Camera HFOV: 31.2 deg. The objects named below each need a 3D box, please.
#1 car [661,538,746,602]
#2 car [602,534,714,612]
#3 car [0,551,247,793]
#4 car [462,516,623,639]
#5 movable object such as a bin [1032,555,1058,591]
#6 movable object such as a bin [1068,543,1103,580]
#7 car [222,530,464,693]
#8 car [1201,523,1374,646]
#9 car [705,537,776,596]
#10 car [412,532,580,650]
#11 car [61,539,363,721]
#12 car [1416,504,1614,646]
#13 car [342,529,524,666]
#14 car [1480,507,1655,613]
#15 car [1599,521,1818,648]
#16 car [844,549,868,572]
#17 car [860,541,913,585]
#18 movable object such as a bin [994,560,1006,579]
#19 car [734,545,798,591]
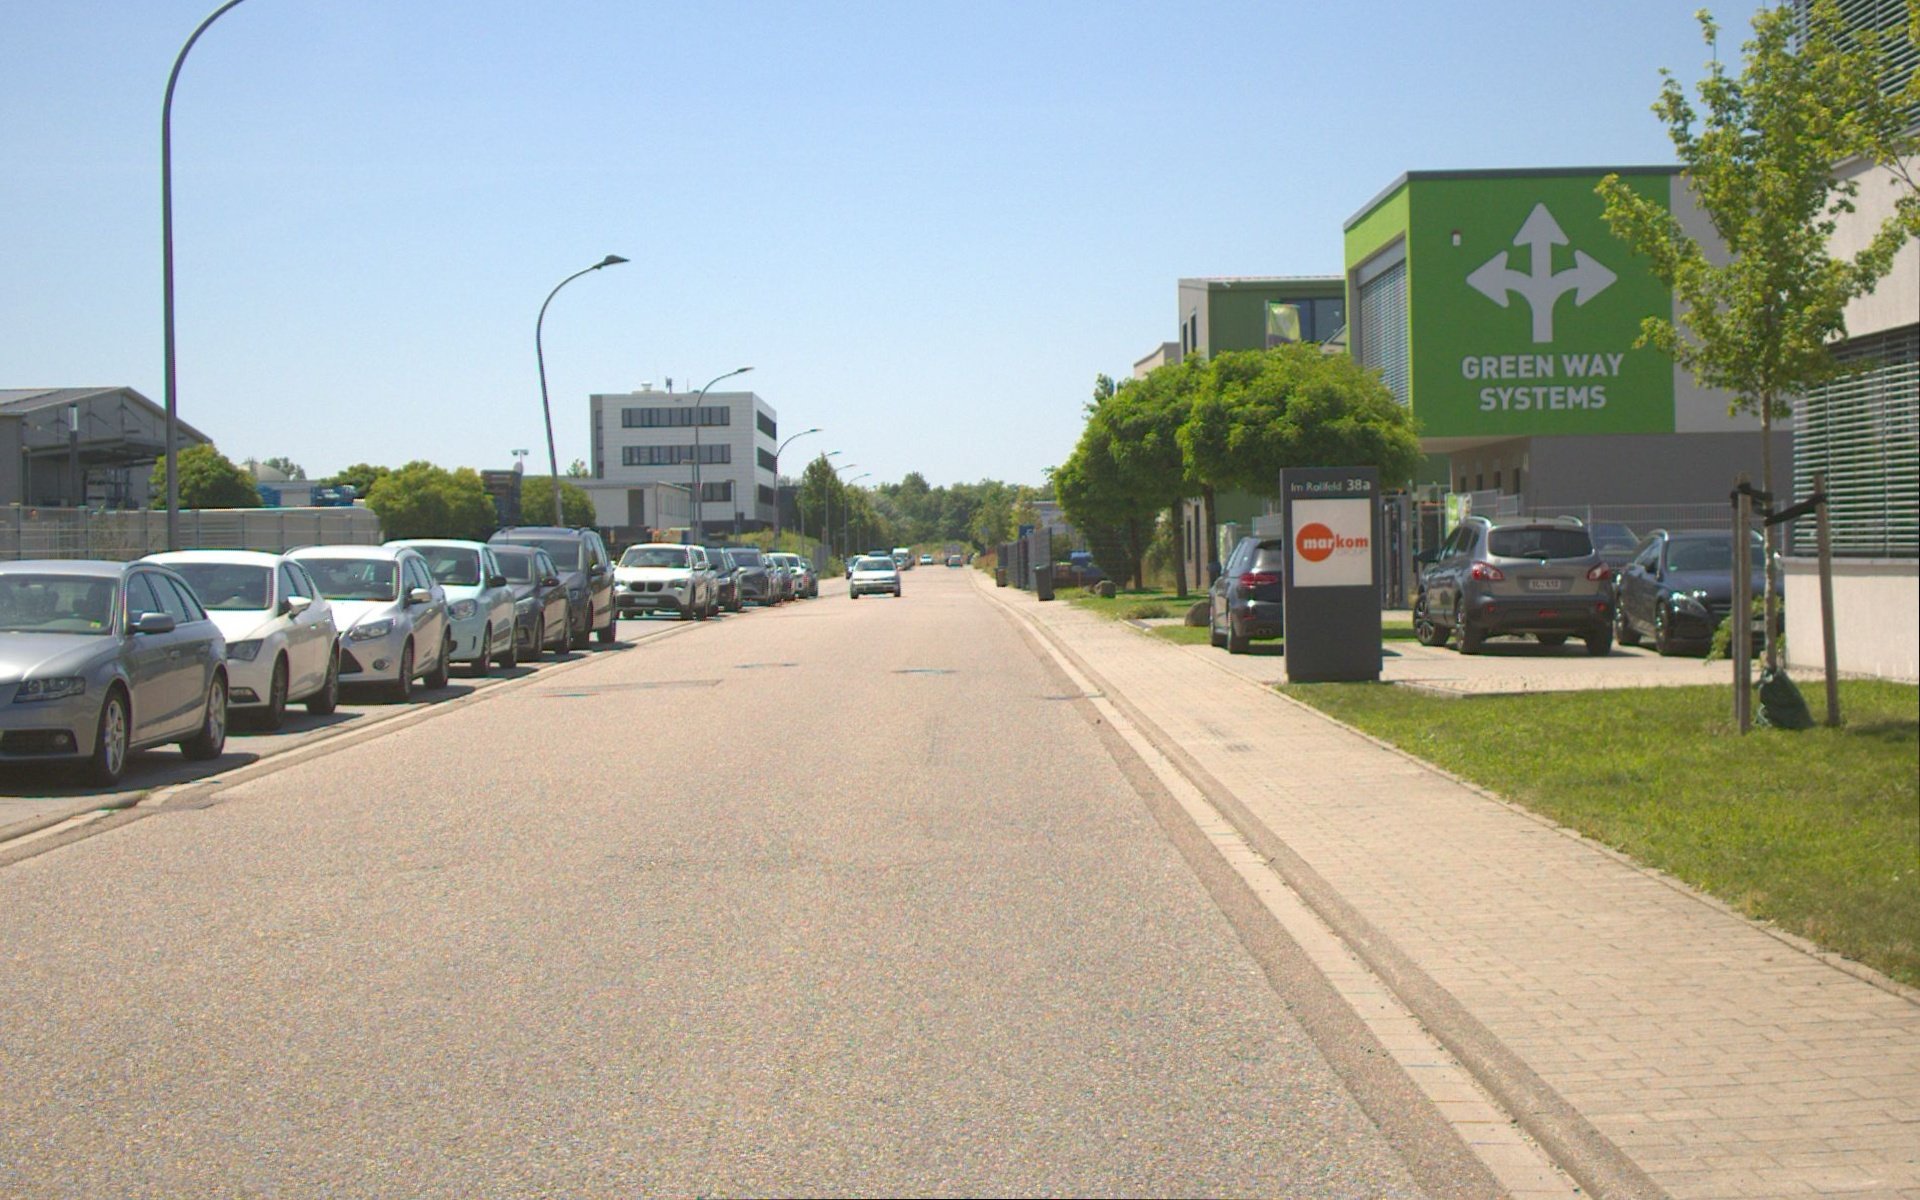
[{"bbox_3d":[-6.190,-0.736,83.298,1.763,1.512,4.380,0,1,-1],"label":"car"},{"bbox_3d":[-6.162,-0.566,70.575,1.787,1.537,4.364,0,1,2],"label":"car"},{"bbox_3d":[-6.119,0.403,22.989,1.684,1.381,4.639,-1,2,0],"label":"car"},{"bbox_3d":[-6.060,-0.357,50.347,1.802,1.714,4.622,0,1,0],"label":"car"},{"bbox_3d":[2.268,-0.713,91.278,0.552,0.925,0.521,-5,0,10],"label":"movable object such as a bin"},{"bbox_3d":[5.020,-1.529,137.841,1.334,1.454,0.949,-2,0,0],"label":"movable object such as a bin"},{"bbox_3d":[-6.159,0.063,34.779,1.703,1.531,4.572,0,1,-1],"label":"car"},{"bbox_3d":[3.935,-0.222,41.883,1.692,1.423,4.246,0,1,0],"label":"car"},{"bbox_3d":[-6.165,-0.943,96.849,1.790,1.601,4.463,0,1,-1],"label":"car"},{"bbox_3d":[-6.125,-0.149,45.729,1.634,1.495,3.971,0,1,1],"label":"car"},{"bbox_3d":[-6.354,0.202,29.648,1.703,1.439,4.440,0,1,-1],"label":"car"},{"bbox_3d":[6.640,-0.321,41.509,1.723,1.627,4.022,0,1,0],"label":"car"},{"bbox_3d":[-6.159,-0.067,40.491,1.634,1.531,3.658,0,1,-1],"label":"car"},{"bbox_3d":[8.686,-0.540,49.420,1.738,1.393,4.055,-1,-1,-1],"label":"car"},{"bbox_3d":[8.891,-0.212,41.143,1.723,1.444,4.022,0,1,0],"label":"car"},{"bbox_3d":[-6.874,-2.601,227.670,1.467,1.484,3.207,-1,1,0],"label":"car"},{"bbox_3d":[-2.577,-1.325,121.441,1.704,1.406,4.784,-3,1,0],"label":"car"},{"bbox_3d":[2.086,-1.614,179.628,0.552,0.925,0.522,-5,2,4],"label":"movable object such as a bin"},{"bbox_3d":[-6.361,-1.047,113.002,1.857,1.475,4.229,0,1,0],"label":"car"}]
